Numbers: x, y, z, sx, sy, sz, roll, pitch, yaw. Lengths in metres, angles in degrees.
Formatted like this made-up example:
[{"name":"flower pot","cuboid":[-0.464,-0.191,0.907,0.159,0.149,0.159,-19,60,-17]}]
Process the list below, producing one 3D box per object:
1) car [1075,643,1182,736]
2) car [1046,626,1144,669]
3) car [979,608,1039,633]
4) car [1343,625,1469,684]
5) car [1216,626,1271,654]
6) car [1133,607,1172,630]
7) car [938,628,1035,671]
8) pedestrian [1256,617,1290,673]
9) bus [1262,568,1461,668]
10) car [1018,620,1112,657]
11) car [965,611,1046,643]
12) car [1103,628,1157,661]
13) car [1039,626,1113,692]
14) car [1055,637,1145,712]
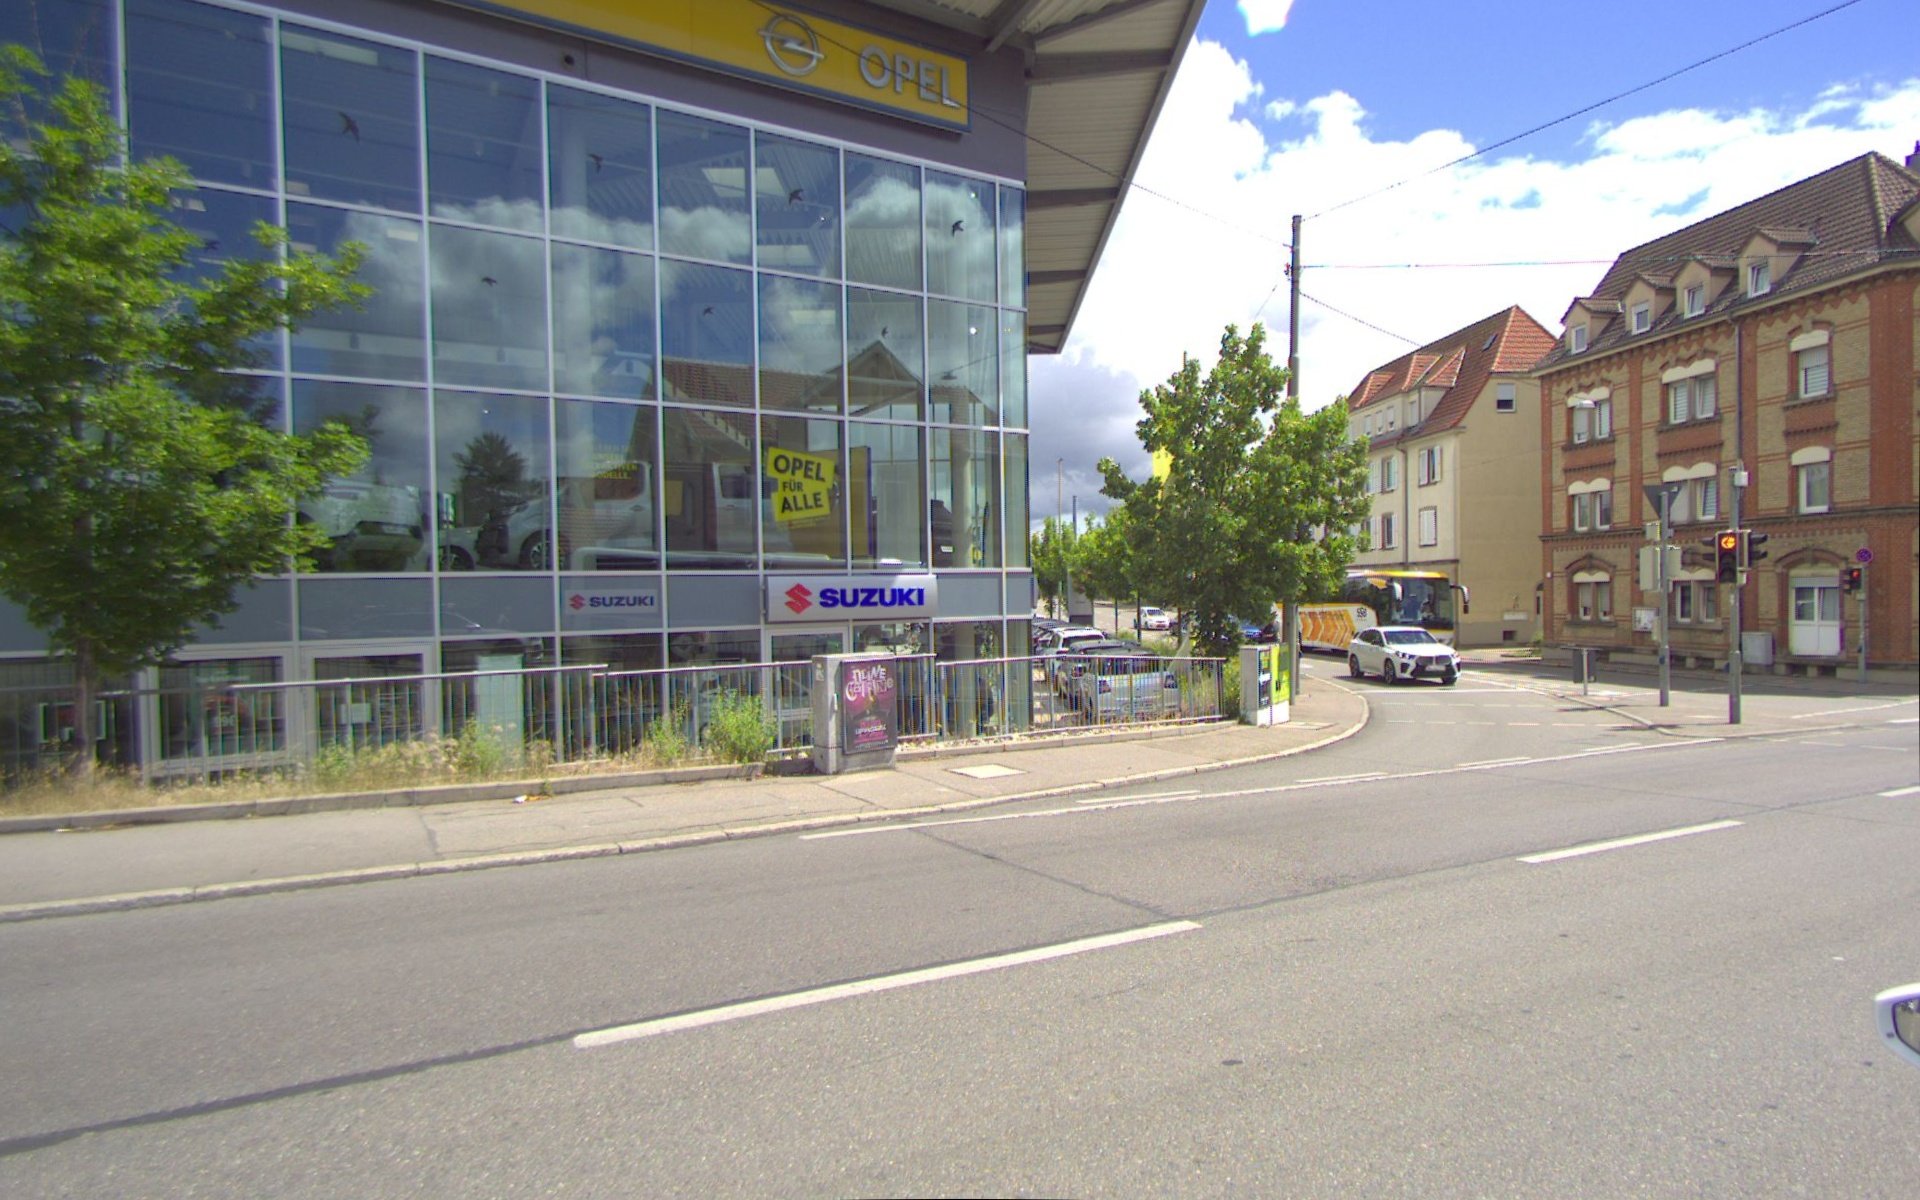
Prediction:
[{"name":"car","cuboid":[3.333,1.735,20.423,1.648,1.582,3.365,-1,0,1]},{"name":"car","cuboid":[4.983,1.754,37.402,3.430,1.497,1.800,1,-1,1]},{"name":"car","cuboid":[3.282,1.396,67.521,3.922,1.574,1.807,1,-1,-1]},{"name":"car","cuboid":[12.893,1.596,29.354,1.797,1.572,4.308,-1,-3,1]},{"name":"car","cuboid":[15.672,2.206,55.663,1.717,1.428,3.999,1,-1,-3]},{"name":"car","cuboid":[13.687,1.309,71.485,1.874,1.574,3.999,1,-1,-2]},{"name":"car","cuboid":[0.923,1.805,36.989,3.432,1.467,1.799,-1,0,-3]},{"name":"pedestrian","cuboid":[10.051,1.442,32.292,0.744,1.757,1.145,1,-1,2]},{"name":"bus","cuboid":[16.731,0.585,43.338,2.719,3.670,12.253,1,1,-5]},{"name":"car","cuboid":[4.691,1.731,45.129,3.925,1.574,1.806,1,-1,-7]},{"name":"car","cuboid":[2.361,1.412,52.792,3.930,1.574,1.804,1,-1,-12]},{"name":"car","cuboid":[8.199,2.130,48.753,1.766,1.467,3.498,1,-1,-5]},{"name":"car","cuboid":[3.306,1.656,29.118,1.620,1.703,3.499,-1,0,-2]},{"name":"car","cuboid":[3.350,1.762,24.568,1.584,1.547,3.499,-1,0,-2]}]
